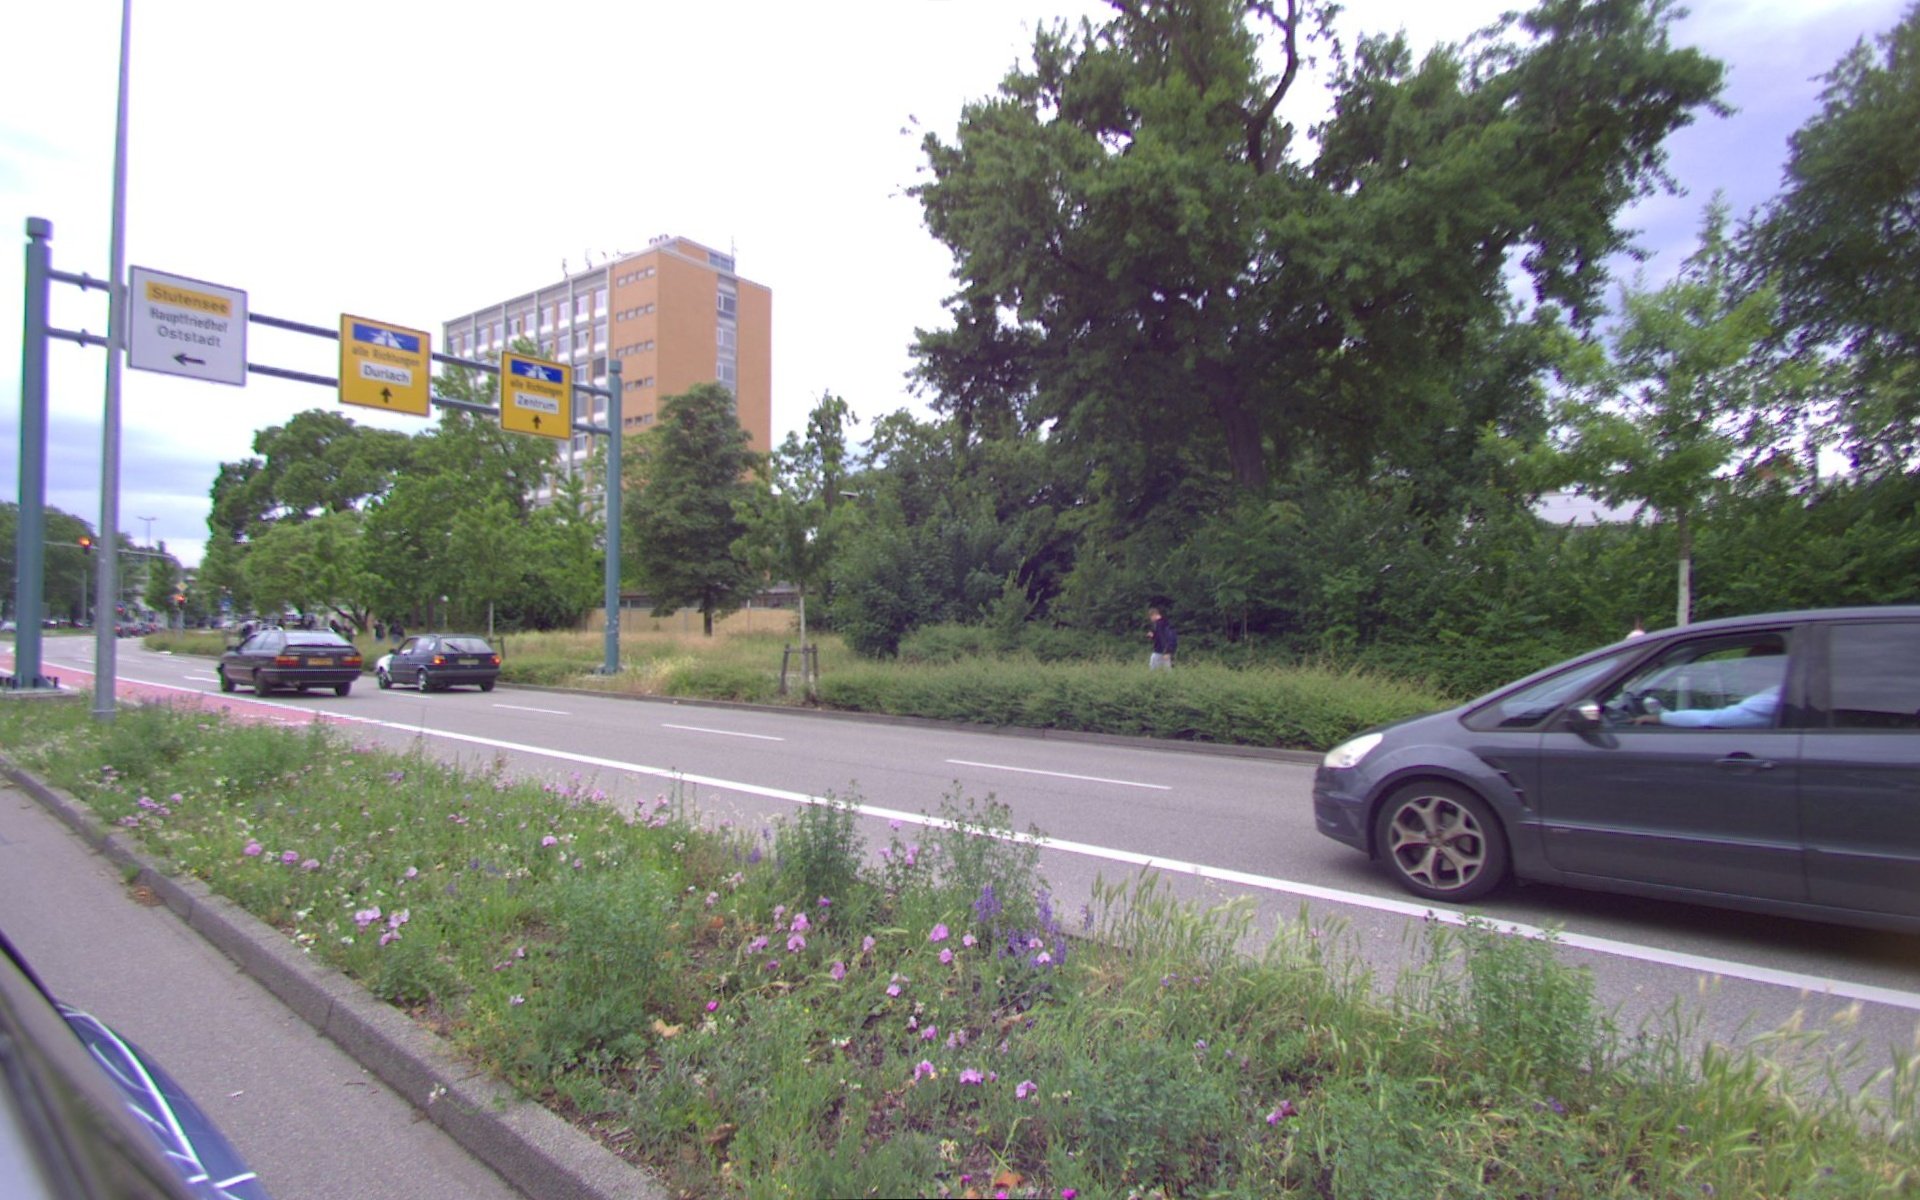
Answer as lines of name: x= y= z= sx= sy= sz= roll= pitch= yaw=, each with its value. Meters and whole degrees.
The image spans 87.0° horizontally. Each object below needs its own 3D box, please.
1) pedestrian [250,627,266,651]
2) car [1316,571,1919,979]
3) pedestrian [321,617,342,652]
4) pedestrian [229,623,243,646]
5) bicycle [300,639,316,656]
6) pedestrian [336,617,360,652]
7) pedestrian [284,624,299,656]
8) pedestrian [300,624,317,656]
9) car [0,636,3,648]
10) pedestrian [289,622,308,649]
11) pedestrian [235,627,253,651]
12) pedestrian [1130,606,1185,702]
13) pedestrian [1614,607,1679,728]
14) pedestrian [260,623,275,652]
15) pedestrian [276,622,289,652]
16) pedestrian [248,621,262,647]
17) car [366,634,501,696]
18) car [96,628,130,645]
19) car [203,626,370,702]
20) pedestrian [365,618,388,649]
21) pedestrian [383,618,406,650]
pedestrian: x=-44.624 y=2.472 z=64.331 sx=0.762 sy=1.491 sz=0.628 roll=-2 pitch=-4 yaw=44
car: x=4.331 y=0.767 z=5.111 sx=4.397 sy=1.677 sz=1.900 roll=-1 pitch=-3 yaw=41
pedestrian: x=-30.290 y=1.660 z=48.749 sx=0.719 sy=1.673 sz=0.580 roll=-1 pitch=-4 yaw=35
pedestrian: x=-54.185 y=2.578 z=75.731 sx=0.943 sy=1.683 sz=0.698 roll=-2 pitch=-2 yaw=44
bicycle: x=-34.011 y=2.482 z=52.801 sx=0.652 sy=0.894 sz=1.719 roll=3 pitch=-4 yaw=-34
pedestrian: x=-29.812 y=1.699 z=49.308 sx=0.766 sy=1.685 sz=0.700 roll=-1 pitch=-4 yaw=35
pedestrian: x=-34.465 y=2.059 z=52.199 sx=0.567 sy=1.621 sz=0.618 roll=3 pitch=-4 yaw=-33
pedestrian: x=-34.006 y=2.084 z=52.822 sx=0.652 sy=1.644 sz=0.765 roll=3 pitch=-4 yaw=-34
car: x=-104.469 y=4.512 z=108.627 sx=1.756 sy=1.271 sz=3.541 roll=0 pitch=-1 yaw=-31
pedestrian: x=-40.402 y=2.194 z=61.823 sx=0.823 sy=1.625 sz=0.631 roll=-2 pitch=-1 yaw=19
pedestrian: x=-45.120 y=2.450 z=63.788 sx=0.813 sy=1.491 sz=0.720 roll=-2 pitch=-4 yaw=44
pedestrian: x=3.676 y=1.000 z=18.838 sx=0.818 sy=1.742 sz=0.613 roll=-2 pitch=-4 yaw=41
pedestrian: x=9.768 y=0.949 z=14.401 sx=0.671 sy=1.648 sz=0.693 roll=-2 pitch=-4 yaw=41
pedestrian: x=-40.550 y=2.198 z=59.275 sx=0.613 sy=1.708 sz=0.749 roll=2 pitch=-3 yaw=-29
pedestrian: x=-39.949 y=2.185 z=59.667 sx=0.570 sy=1.725 sz=0.764 roll=3 pitch=-4 yaw=-32
pedestrian: x=-50.674 y=2.434 z=72.744 sx=0.762 sy=1.815 sz=0.630 roll=-2 pitch=-3 yaw=44
car: x=-12.780 y=1.530 z=24.477 sx=3.807 sy=1.391 sz=1.591 roll=-2 pitch=-4 yaw=41
car: x=-85.900 y=3.707 z=102.669 sx=1.785 sy=1.680 sz=3.962 roll=2 pitch=-2 yaw=-27
car: x=-14.818 y=1.341 z=22.164 sx=4.788 sy=1.471 sz=1.746 roll=-1 pitch=-4 yaw=40
pedestrian: x=-25.459 y=1.465 z=44.167 sx=0.711 sy=1.368 sz=0.638 roll=-2 pitch=-4 yaw=40
pedestrian: x=-25.001 y=1.496 z=44.723 sx=0.680 sy=1.373 sz=0.638 roll=-2 pitch=-4 yaw=39
